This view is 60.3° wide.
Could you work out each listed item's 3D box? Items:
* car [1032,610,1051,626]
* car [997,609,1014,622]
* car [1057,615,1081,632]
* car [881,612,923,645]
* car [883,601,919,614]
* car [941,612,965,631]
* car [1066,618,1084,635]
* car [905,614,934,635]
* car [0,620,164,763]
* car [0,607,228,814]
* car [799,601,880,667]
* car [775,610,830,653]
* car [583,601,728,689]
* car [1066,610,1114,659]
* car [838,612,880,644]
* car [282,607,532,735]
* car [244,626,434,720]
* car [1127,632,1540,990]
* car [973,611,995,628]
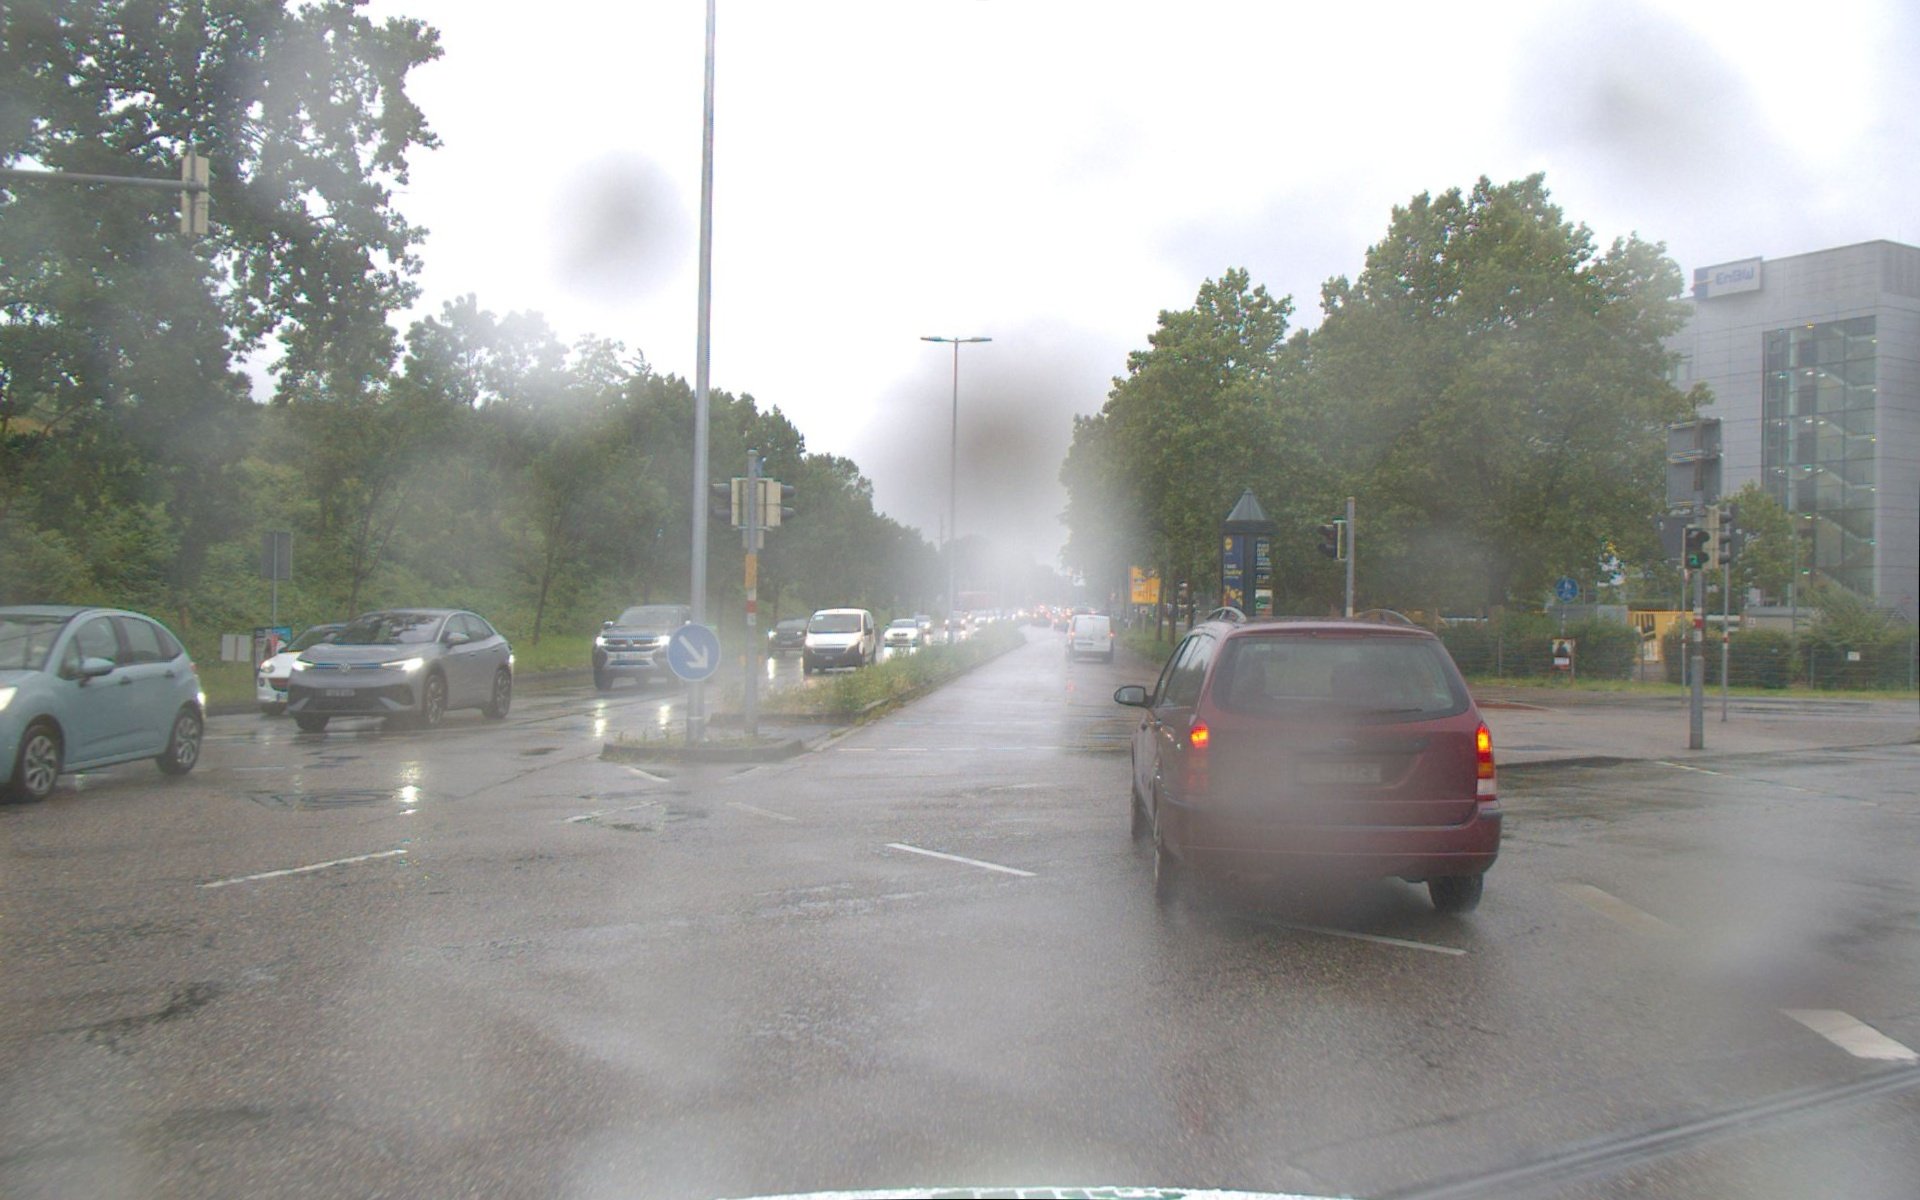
[{"bbox_3d":[8.333,1.833,168.803,1.662,1.555,3.848,1,-1,5],"label":"car"},{"bbox_3d":[5.753,1.984,208.418,1.922,1.625,4.286,0,0,4],"label":"car"},{"bbox_3d":[10.168,2.148,153.816,2.102,1.555,4.195,1,-1,6],"label":"car"},{"bbox_3d":[-3.163,1.557,91.158,1.922,1.732,4.285,0,-1,3],"label":"car"},{"bbox_3d":[-7.520,0.979,210.840,4.228,1.625,1.948,1,-1,-32],"label":"car"},{"bbox_3d":[-0.602,1.858,145.779,1.922,1.625,4.285,0,0,3],"label":"car"},{"bbox_3d":[11.180,2.557,160.354,1.662,1.555,3.848,1,-1,5],"label":"car"},{"bbox_3d":[-3.158,1.924,129.860,1.922,1.625,4.285,0,0,3],"label":"car"},{"bbox_3d":[-10.801,0.981,18.763,1.604,1.478,3.788,0,-1,2],"label":"car"},{"bbox_3d":[-7.766,0.810,13.805,1.605,1.499,3.963,0,0,-1],"label":"car"},{"bbox_3d":[-3.300,0.930,46.099,1.707,1.732,4.285,-1,-1,3],"label":"car"},{"bbox_3d":[-6.822,1.348,72.138,1.707,1.732,4.285,3,0,3],"label":"car"},{"bbox_3d":[-6.833,0.982,37.732,2.022,1.851,5.543,0,0,3],"label":"car"},{"bbox_3d":[5.010,1.314,64.234,1.699,1.756,4.245,2,0,3],"label":"car"},{"bbox_3d":[-5.762,1.587,94.862,1.922,1.732,4.285,0,-1,3],"label":"car"},{"bbox_3d":[-7.672,0.950,23.477,1.725,1.614,4.814,0,-1,3],"label":"car"},{"bbox_3d":[-10.245,1.163,27.582,1.557,1.428,3.824,0,0,3],"label":"car"},{"bbox_3d":[1.880,0.989,9.371,1.608,1.490,3.734,3,0,3],"label":"car"},{"bbox_3d":[2.415,1.920,163.214,1.922,1.625,4.286,0,0,4],"label":"car"}]
